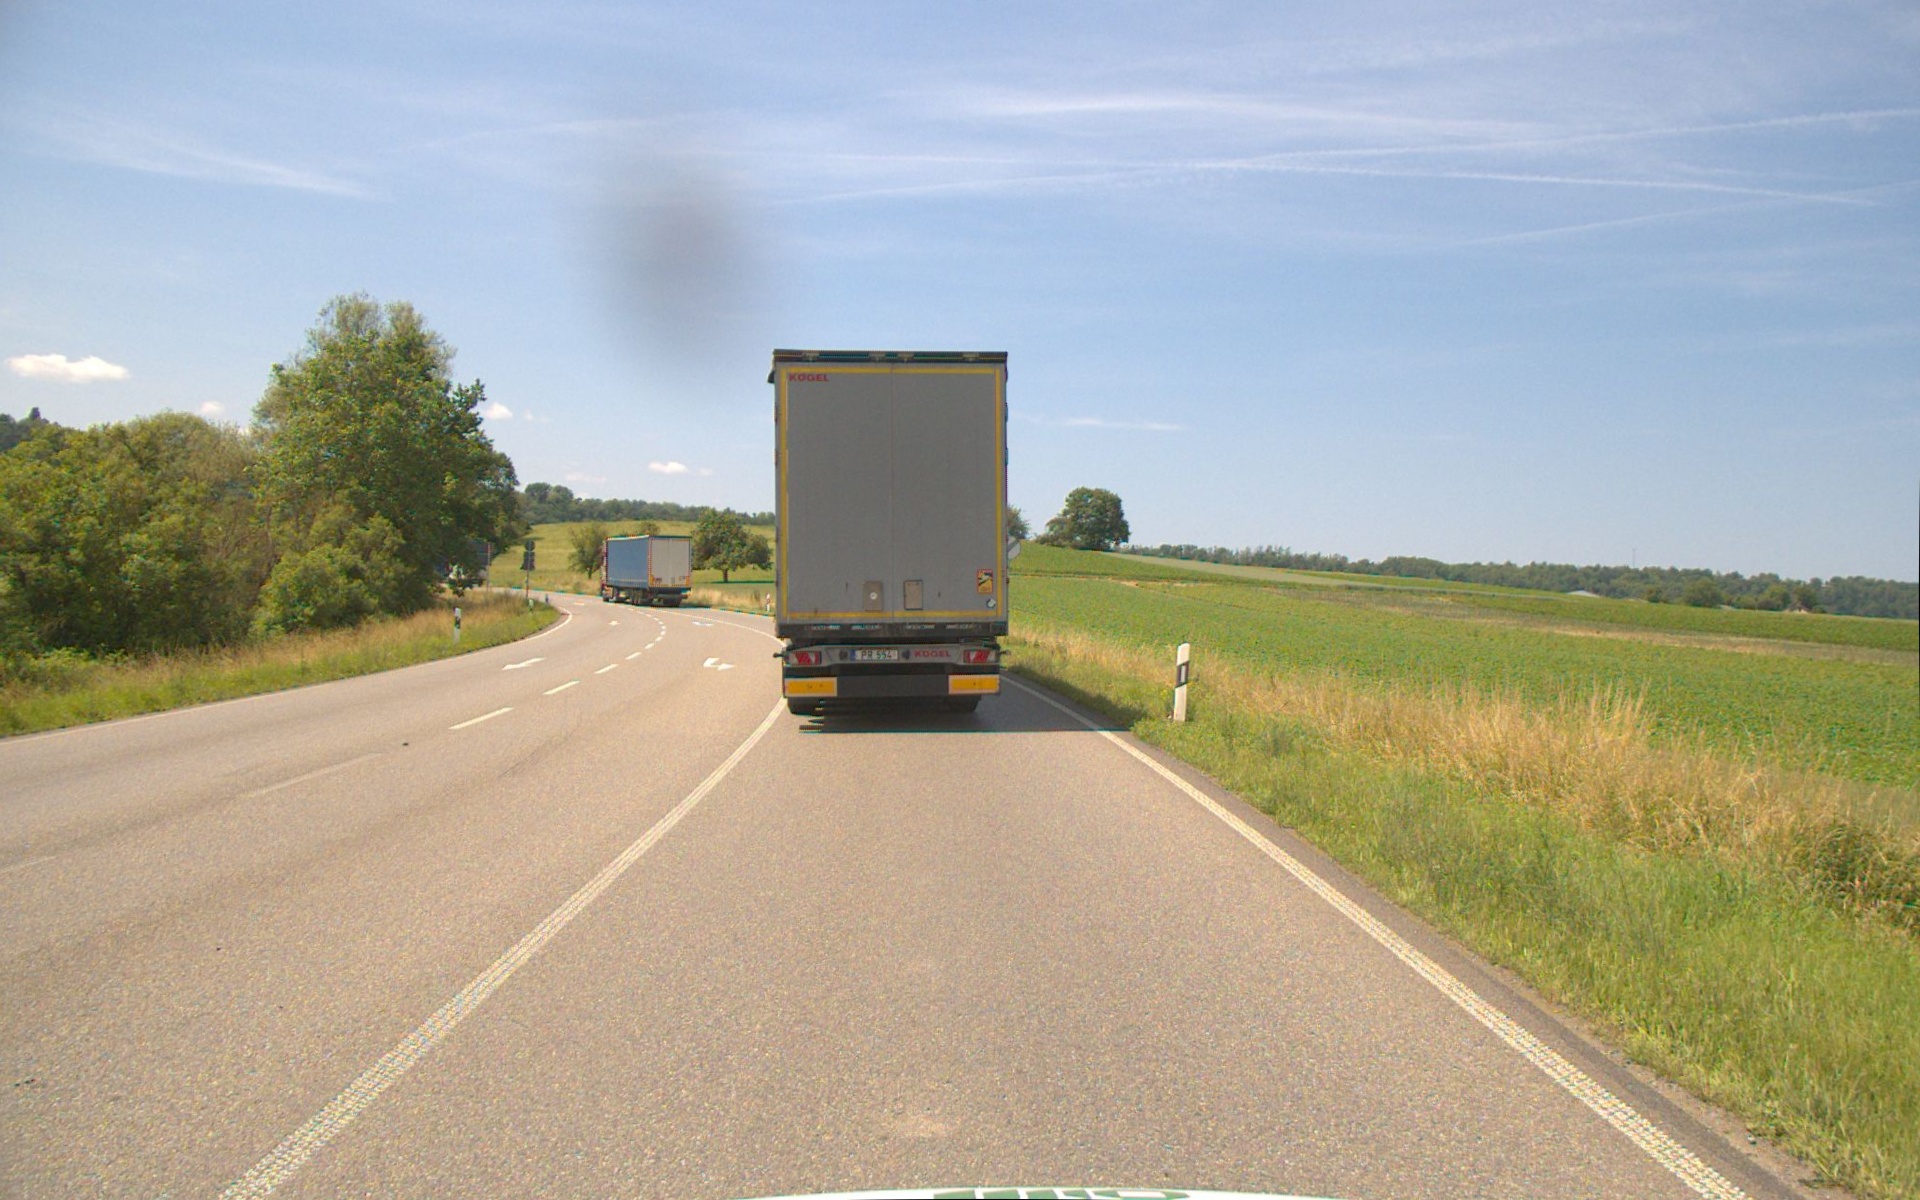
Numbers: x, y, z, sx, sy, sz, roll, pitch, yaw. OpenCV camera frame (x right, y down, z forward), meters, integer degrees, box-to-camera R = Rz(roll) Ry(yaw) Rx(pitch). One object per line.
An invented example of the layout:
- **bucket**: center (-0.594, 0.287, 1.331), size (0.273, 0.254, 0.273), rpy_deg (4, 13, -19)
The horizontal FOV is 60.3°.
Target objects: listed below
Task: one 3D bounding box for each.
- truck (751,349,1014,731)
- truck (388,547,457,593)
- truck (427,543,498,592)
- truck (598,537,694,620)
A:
- **truck**: center (-1.190, -0.646, 22.267), size (2.753, 4.015, 9.581), rpy_deg (0, 0, -5)
- **truck**: center (-56.012, -3.045, 172.135), size (3.496, 4.315, 13.255), rpy_deg (3, -2, -32)
- **truck**: center (-47.703, -3.059, 158.382), size (3.598, 4.202, 12.967), rpy_deg (3, -2, -29)
- **truck**: center (-19.618, -1.194, 102.200), size (2.918, 4.664, 16.213), rpy_deg (2, -1, -21)
